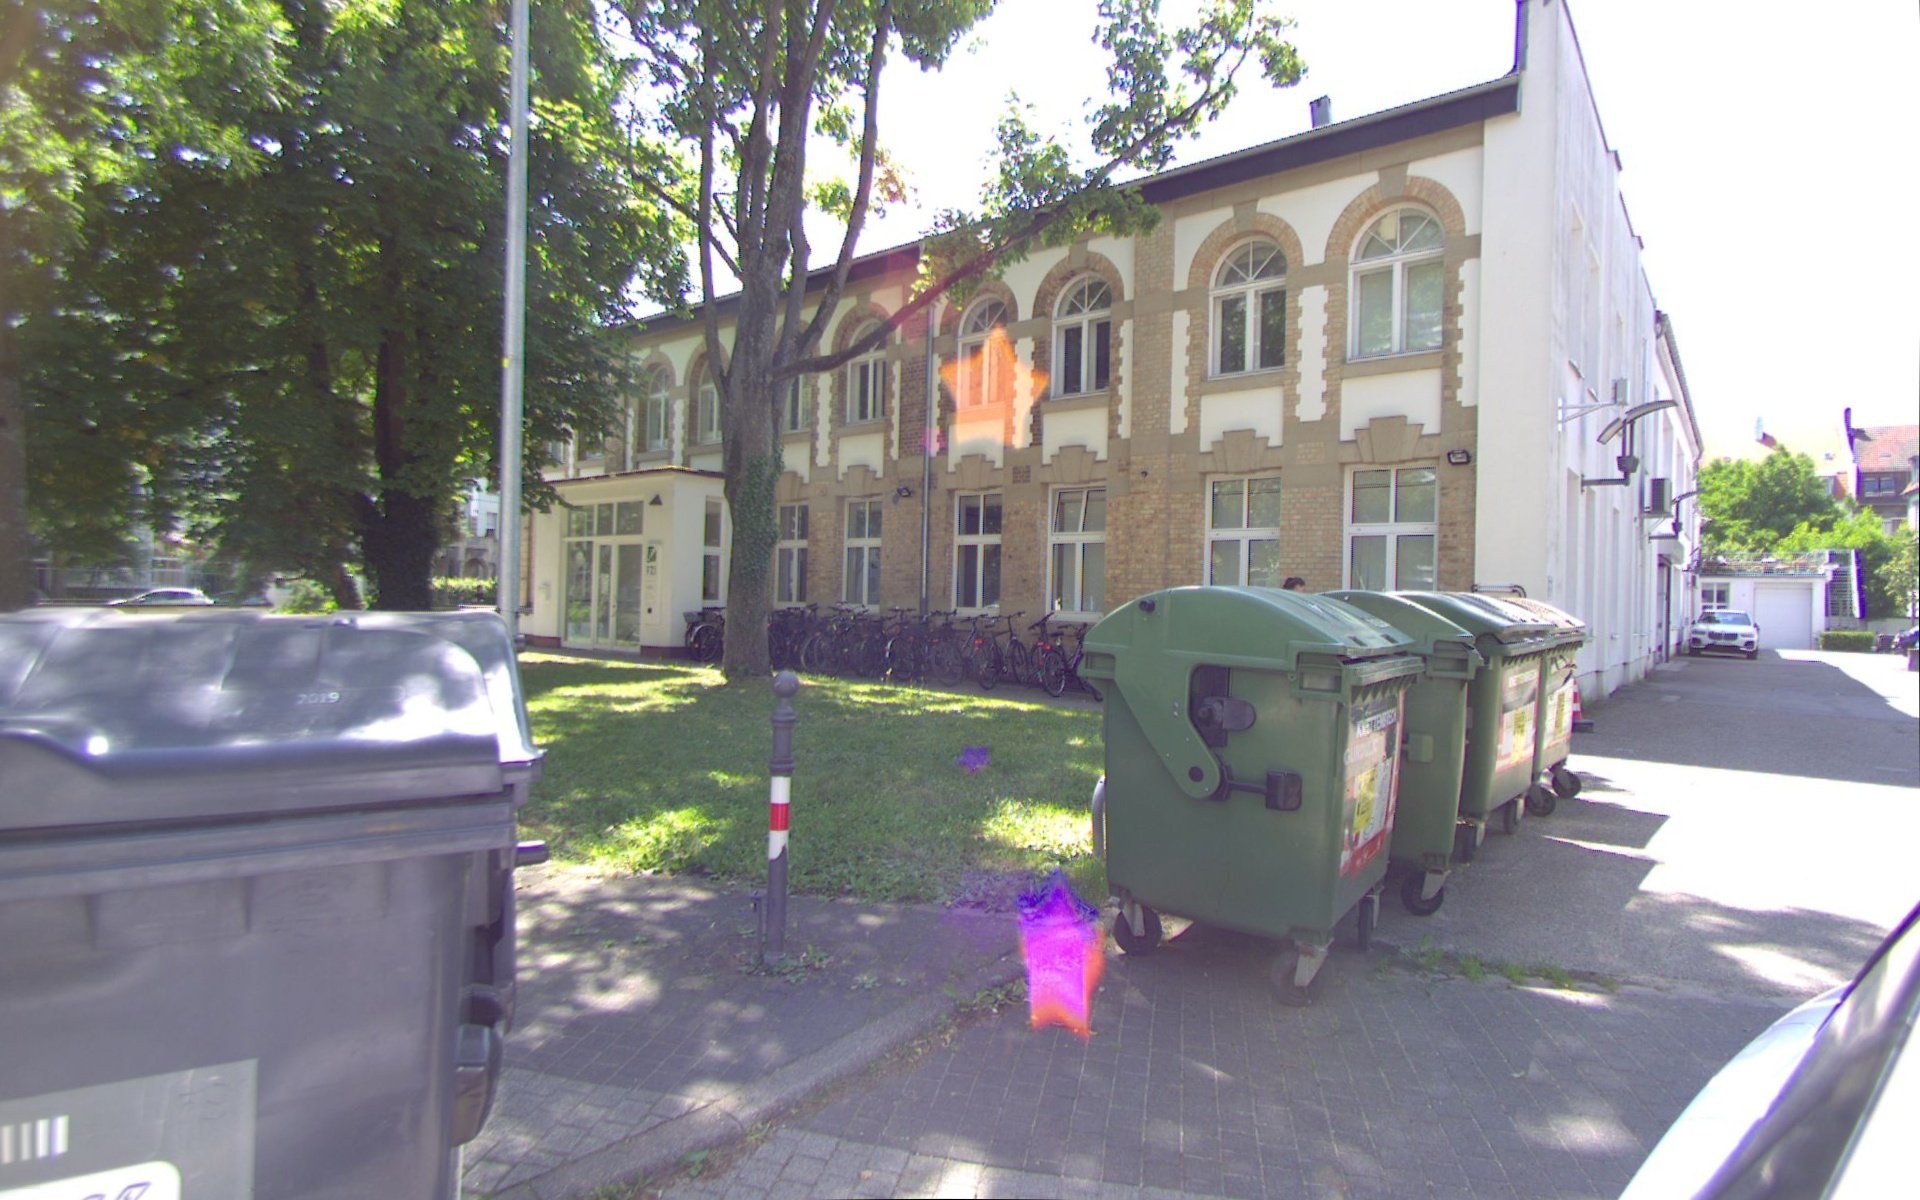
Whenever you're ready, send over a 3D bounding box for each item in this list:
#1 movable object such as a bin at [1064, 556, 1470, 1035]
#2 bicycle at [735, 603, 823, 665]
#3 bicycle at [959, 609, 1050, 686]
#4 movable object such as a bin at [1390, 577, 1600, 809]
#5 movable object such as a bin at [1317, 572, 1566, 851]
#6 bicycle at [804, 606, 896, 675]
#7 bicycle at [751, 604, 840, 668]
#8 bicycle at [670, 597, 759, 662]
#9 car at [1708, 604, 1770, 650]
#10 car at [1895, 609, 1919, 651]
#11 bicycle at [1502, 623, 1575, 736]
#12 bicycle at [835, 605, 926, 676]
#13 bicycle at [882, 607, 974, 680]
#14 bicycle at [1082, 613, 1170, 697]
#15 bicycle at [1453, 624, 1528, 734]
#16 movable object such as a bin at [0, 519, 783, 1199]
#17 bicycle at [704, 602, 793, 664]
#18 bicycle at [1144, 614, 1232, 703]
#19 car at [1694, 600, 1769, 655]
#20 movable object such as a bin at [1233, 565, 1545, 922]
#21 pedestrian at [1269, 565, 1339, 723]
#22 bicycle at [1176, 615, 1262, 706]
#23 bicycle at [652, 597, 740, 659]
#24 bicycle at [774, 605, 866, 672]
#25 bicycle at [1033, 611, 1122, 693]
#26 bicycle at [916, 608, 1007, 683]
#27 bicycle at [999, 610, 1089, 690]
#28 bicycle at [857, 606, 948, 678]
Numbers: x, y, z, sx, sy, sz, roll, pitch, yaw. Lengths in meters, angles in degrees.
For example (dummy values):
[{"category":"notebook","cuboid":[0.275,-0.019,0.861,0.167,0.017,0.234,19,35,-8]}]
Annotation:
[{"category":"movable object such as a bin","cuboid":[1.246,0.593,3.994,1.074,1.476,1.357,1,0,40]},{"category":"bicycle","cuboid":[-3.405,0.621,19.182,0.404,1.115,1.800,1,0,39]},{"category":"bicycle","cuboid":[0.720,0.707,15.702,0.404,1.115,1.800,1,0,39]},{"category":"movable object such as a bin","cuboid":[3.902,0.588,7.347,1.074,1.476,1.357,1,0,40]},{"category":"movable object such as a bin","cuboid":[2.994,0.584,6.251,1.074,1.476,1.357,1,0,40]},{"category":"bicycle","cuboid":[-1.865,0.667,17.418,0.404,1.115,1.800,1,0,39]},{"category":"bicycle","cuboid":[-3.007,0.633,18.666,0.404,1.115,1.800,1,0,39]},{"category":"bicycle","cuboid":[-4.760,0.548,19.716,0.404,1.115,1.801,1,3,39]},{"category":"car","cuboid":[33.617,1.119,43.608,2.003,1.825,4.660,1,1,39]},{"category":"car","cuboid":[45.300,1.410,45.721,4.196,1.846,1.985,1,0,34]},{"category":"bicycle","cuboid":[6.414,0.834,11.188,0.404,1.115,1.800,1,0,39]},{"category":"bicycle","cuboid":[-1.318,0.656,17.091,0.404,1.115,1.800,1,0,39]},{"category":"bicycle","cuboid":[-0.501,0.678,16.423,0.404,1.115,1.800,1,0,39]},{"category":"bicycle","cuboid":[2.411,0.750,14.527,0.404,1.115,1.800,1,0,39]},{"category":"bicycle","cuboid":[6.024,0.847,11.450,0.404,1.115,1.800,1,0,39]},{"category":"movable object such as a bin","cuboid":[-1.142,0.653,1.485,1.074,1.476,1.357,1,0,40]},{"category":"bicycle","cuboid":[-4.026,0.608,19.353,0.404,1.115,1.800,1,0,39]},{"category":"bicycle","cuboid":[3.152,0.770,13.880,0.404,1.115,1.800,1,0,39]},{"category":"car","cuboid":[28.151,0.943,36.870,2.003,1.825,4.660,1,1,39]},{"category":"movable object such as a bin","cuboid":[2.168,0.583,5.049,1.074,1.476,1.357,1,0,40]},{"category":"pedestrian","cuboid":[4.026,0.491,11.831,0.550,1.771,0.679,1,0,41]},{"category":"bicycle","cuboid":[3.508,0.779,13.605,0.404,1.115,1.800,1,0,39]},{"category":"bicycle","cuboid":[-5.259,0.533,20.273,0.404,1.115,1.801,1,3,39]},{"category":"bicycle","cuboid":[-2.450,0.651,17.904,0.404,1.115,1.800,1,0,39]},{"category":"bicycle","cuboid":[1.764,0.734,14.956,0.404,1.115,1.800,1,0,39]},{"category":"bicycle","cuboid":[0.052,0.691,16.085,0.404,1.115,1.800,1,0,39]},{"category":"bicycle","cuboid":[1.289,0.722,15.277,0.404,1.115,1.800,1,0,39]},{"category":"bicycle","cuboid":[-0.926,0.667,16.749,0.404,1.115,1.800,1,0,39]}]
